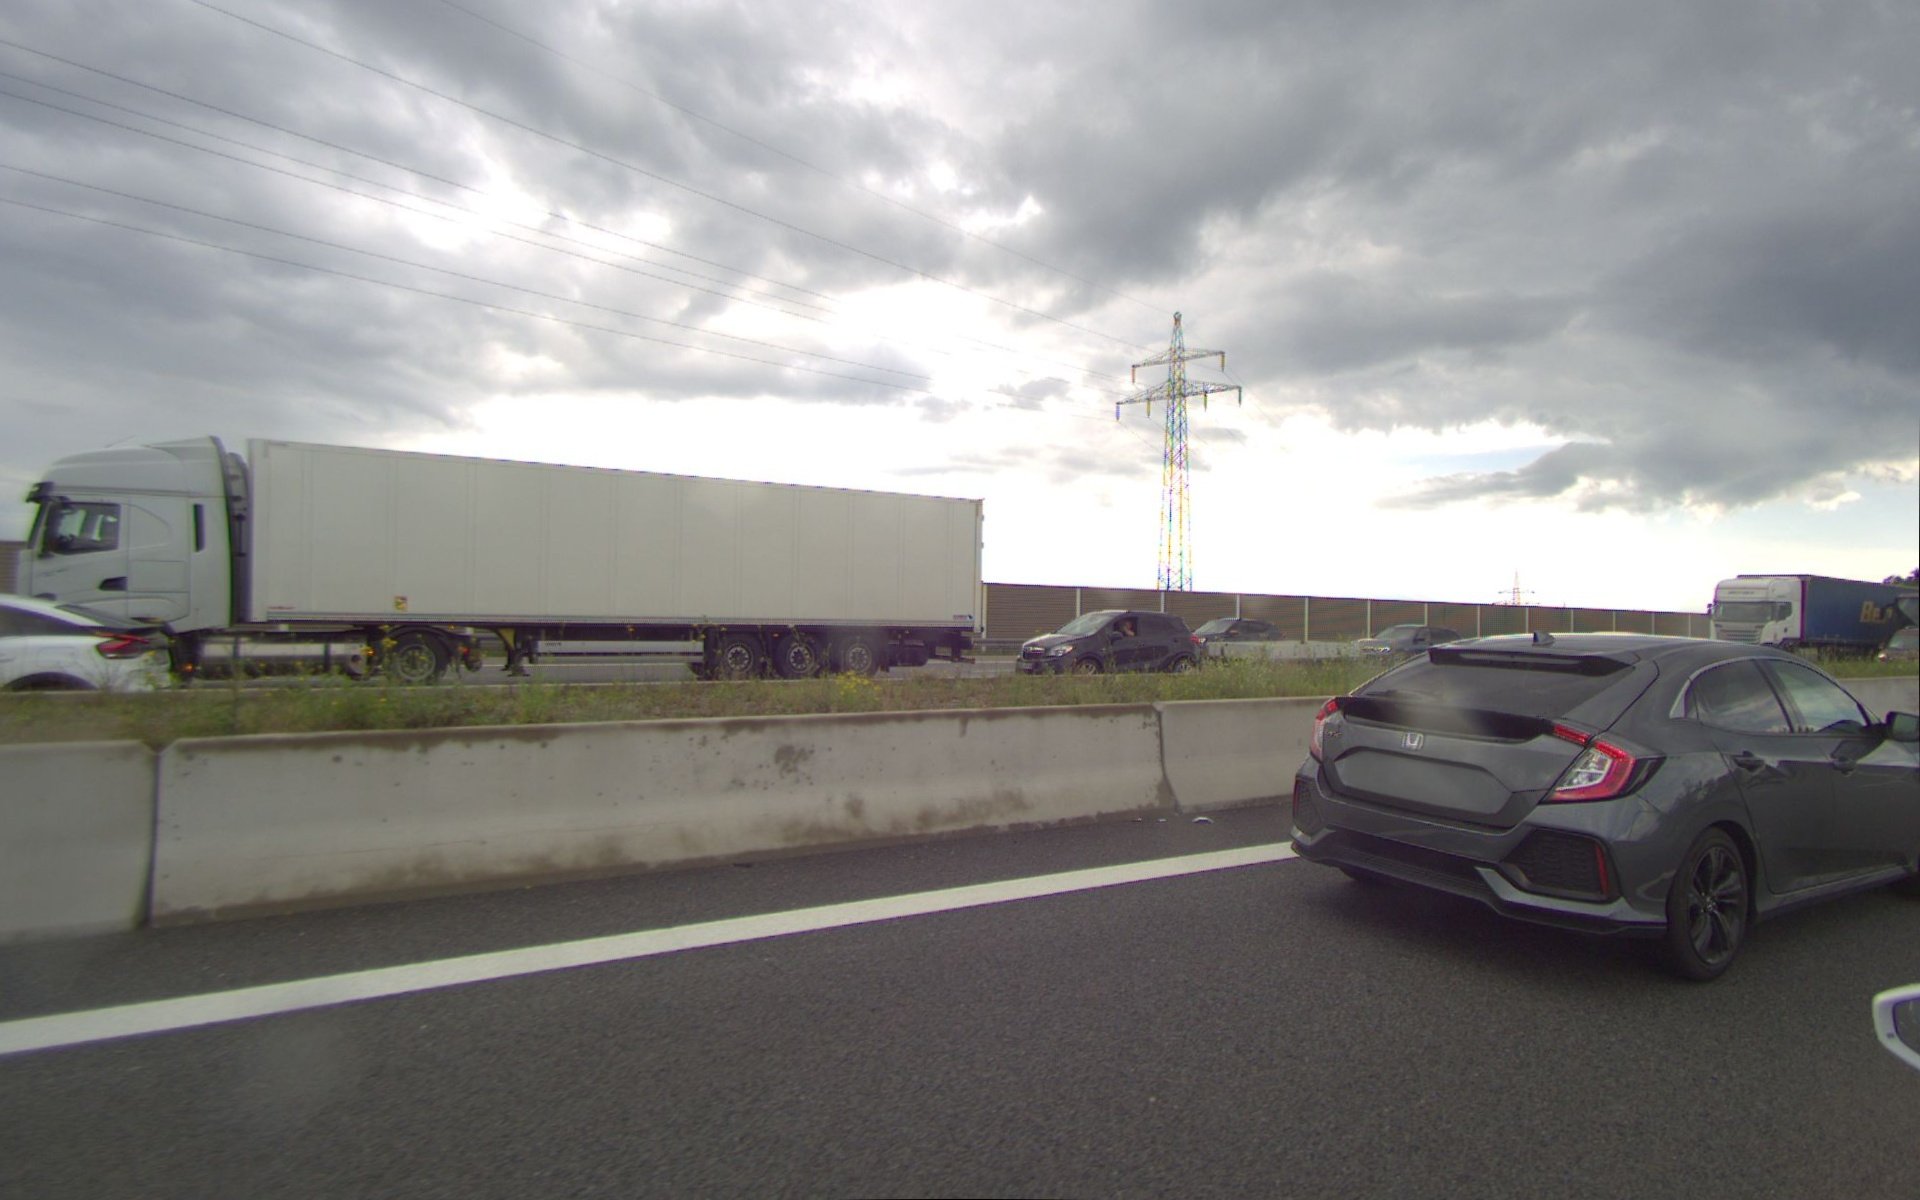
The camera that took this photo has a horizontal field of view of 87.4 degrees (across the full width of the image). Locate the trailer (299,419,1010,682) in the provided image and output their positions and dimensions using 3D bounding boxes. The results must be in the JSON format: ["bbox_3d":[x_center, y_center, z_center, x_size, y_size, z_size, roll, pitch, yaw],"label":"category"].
[{"bbox_3d":[-5.555,-0.646,20.811,13.238,4.163,3.643,2,0,-30],"label":"trailer"}]

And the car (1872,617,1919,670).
[{"bbox_3d":[33.054,1.478,34.205,4.246,1.688,1.779,2,0,-30],"label":"car"}]

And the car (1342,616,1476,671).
[{"bbox_3d":[14.650,1.401,32.706,4.334,1.612,1.779,2,0,-31],"label":"car"}]

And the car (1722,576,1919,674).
[{"bbox_3d":[41.354,1.215,47.715,14.227,4.179,2.968,2,0,-31],"label":"car"}]

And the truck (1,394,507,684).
[{"bbox_3d":[-11.555,-0.808,17.369,6.446,4.102,3.644,2,0,-29],"label":"truck"}]

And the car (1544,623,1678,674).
[{"bbox_3d":[20.973,1.529,32.306,4.512,1.474,1.779,2,0,-31],"label":"car"}]

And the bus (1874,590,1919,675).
[{"bbox_3d":[46.913,1.546,46.702,12.610,3.659,2.876,2,0,-31],"label":"bus"}]

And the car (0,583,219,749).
[{"bbox_3d":[-9.798,0.563,9.310,4.513,1.473,1.778,2,0,-31],"label":"car"}]

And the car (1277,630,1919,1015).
[{"bbox_3d":[4.272,0.904,5.774,4.999,1.387,1.752,1,0,-30],"label":"car"}]

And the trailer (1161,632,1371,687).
[{"bbox_3d":[7.138,1.343,23.339,4.706,1.084,2.081,2,0,-31],"label":"trailer"}]

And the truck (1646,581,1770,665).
[{"bbox_3d":[39.556,1.218,53.096,6.545,4.171,2.886,2,0,-30],"label":"truck"}]

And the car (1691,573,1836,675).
[{"bbox_3d":[35.295,1.036,44.107,5.972,4.205,2.968,1,0,-30],"label":"car"}]

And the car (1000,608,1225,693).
[{"bbox_3d":[3.218,1.013,20.895,4.513,1.583,1.778,2,0,-31],"label":"car"}]

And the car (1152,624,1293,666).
[{"bbox_3d":[8.603,1.457,32.840,4.512,1.260,1.779,2,0,-31],"label":"car"}]
